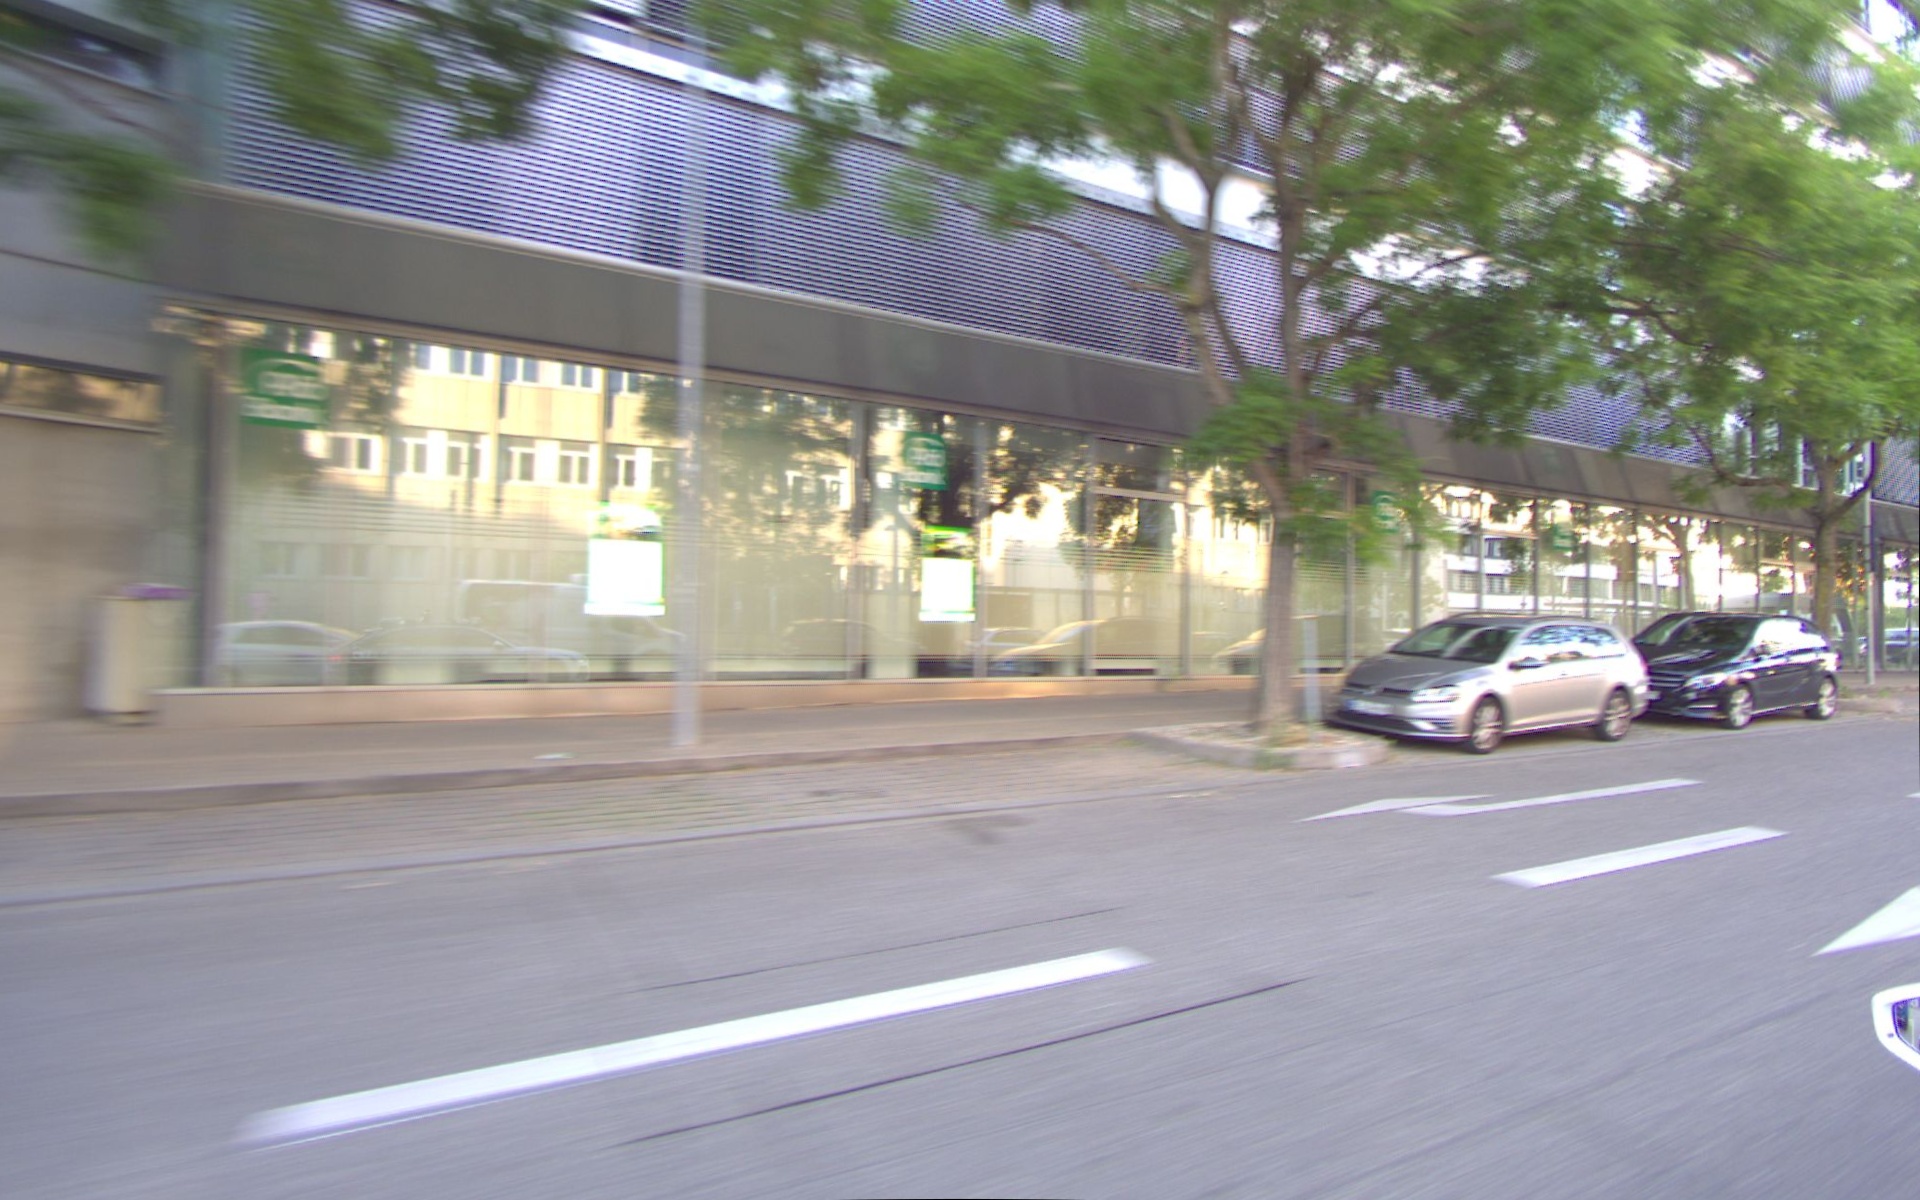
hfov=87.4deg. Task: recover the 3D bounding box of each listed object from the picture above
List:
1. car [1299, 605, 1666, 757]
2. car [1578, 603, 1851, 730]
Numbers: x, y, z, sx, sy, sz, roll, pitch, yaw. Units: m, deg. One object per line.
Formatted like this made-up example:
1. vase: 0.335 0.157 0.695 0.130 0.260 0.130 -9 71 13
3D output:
1. car: 6.363 0.871 12.094 4.572 1.481 1.695 1 2 -30
2. car: 11.198 0.903 14.839 4.418 1.590 1.582 1 2 -30
